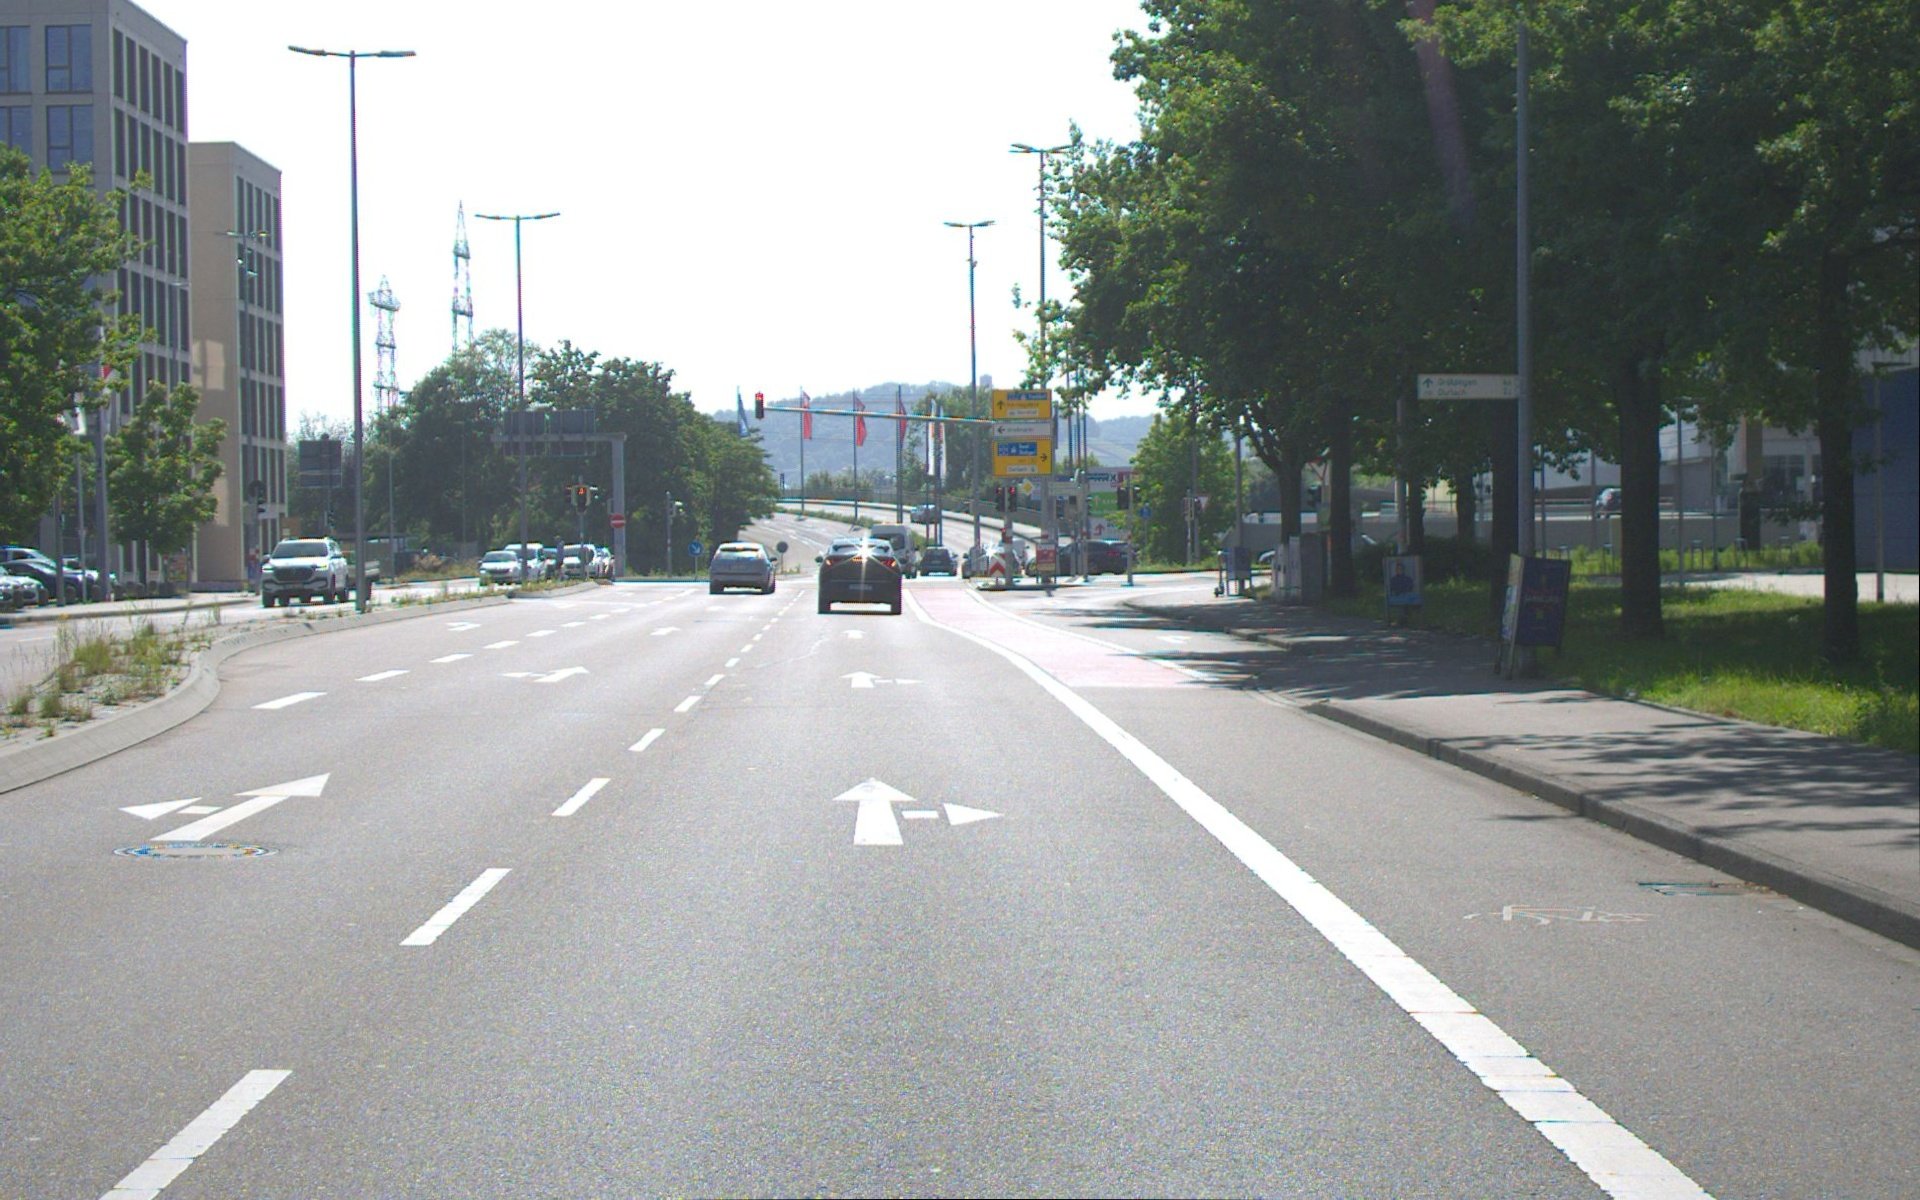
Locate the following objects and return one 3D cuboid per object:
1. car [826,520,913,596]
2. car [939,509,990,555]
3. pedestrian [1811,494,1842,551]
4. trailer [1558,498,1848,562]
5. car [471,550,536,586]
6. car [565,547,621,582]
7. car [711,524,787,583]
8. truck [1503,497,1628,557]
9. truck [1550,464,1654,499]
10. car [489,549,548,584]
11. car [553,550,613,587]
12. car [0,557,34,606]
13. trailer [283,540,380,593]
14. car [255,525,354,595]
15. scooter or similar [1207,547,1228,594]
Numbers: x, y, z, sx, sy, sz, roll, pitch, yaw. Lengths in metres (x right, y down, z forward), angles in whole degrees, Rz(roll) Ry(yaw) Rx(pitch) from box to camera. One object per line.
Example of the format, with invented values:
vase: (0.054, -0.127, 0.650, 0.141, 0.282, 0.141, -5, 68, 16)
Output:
car: (-2.061, -0.959, 77.389, 1.807, 1.634, 4.459, -1, 1, -3)
car: (0.165, -2.737, 137.710, 1.757, 1.752, 3.603, 1, 2, -4)
pedestrian: (27.258, -2.437, 108.146, 0.627, 1.764, 0.805, -1, 1, -11)
trailer: (31.693, -2.998, 146.856, 11.870, 2.460, 2.000, 1, 2, -1)
car: (-18.974, -1.342, 143.072, 1.892, 1.459, 4.000, -1, 1, 3)
car: (-16.128, -1.579, 151.254, 1.816, 1.459, 4.000, -1, 1, 3)
car: (-6.275, -1.395, 102.577, 1.993, 1.678, 4.000, -1, 1, 0)
truck: (25.808, -3.104, 146.715, 4.880, 2.415, 2.000, 1, 2, -2)
truck: (38.875, -7.180, 208.365, 5.910, 2.006, 2.000, 1, 2, 1)
car: (-19.330, -1.472, 150.562, 1.816, 1.459, 4.000, -1, 1, 3)
car: (-15.821, -1.322, 144.285, 1.816, 1.459, 4.000, -1, 1, 3)
car: (-28.252, -0.498, 96.510, 3.986, 1.338, 2.000, -1, 1, -2)
trailer: (-18.133, -1.000, 99.379, 1.993, 1.448, 5.773, -1, 1, -3)
car: (-17.887, -1.117, 94.021, 1.993, 1.826, 4.938, -1, 1, -3)
scooter or similar: (6.953, -0.796, 92.662, 0.351, 1.229, 1.310, -1, 1, 12)
